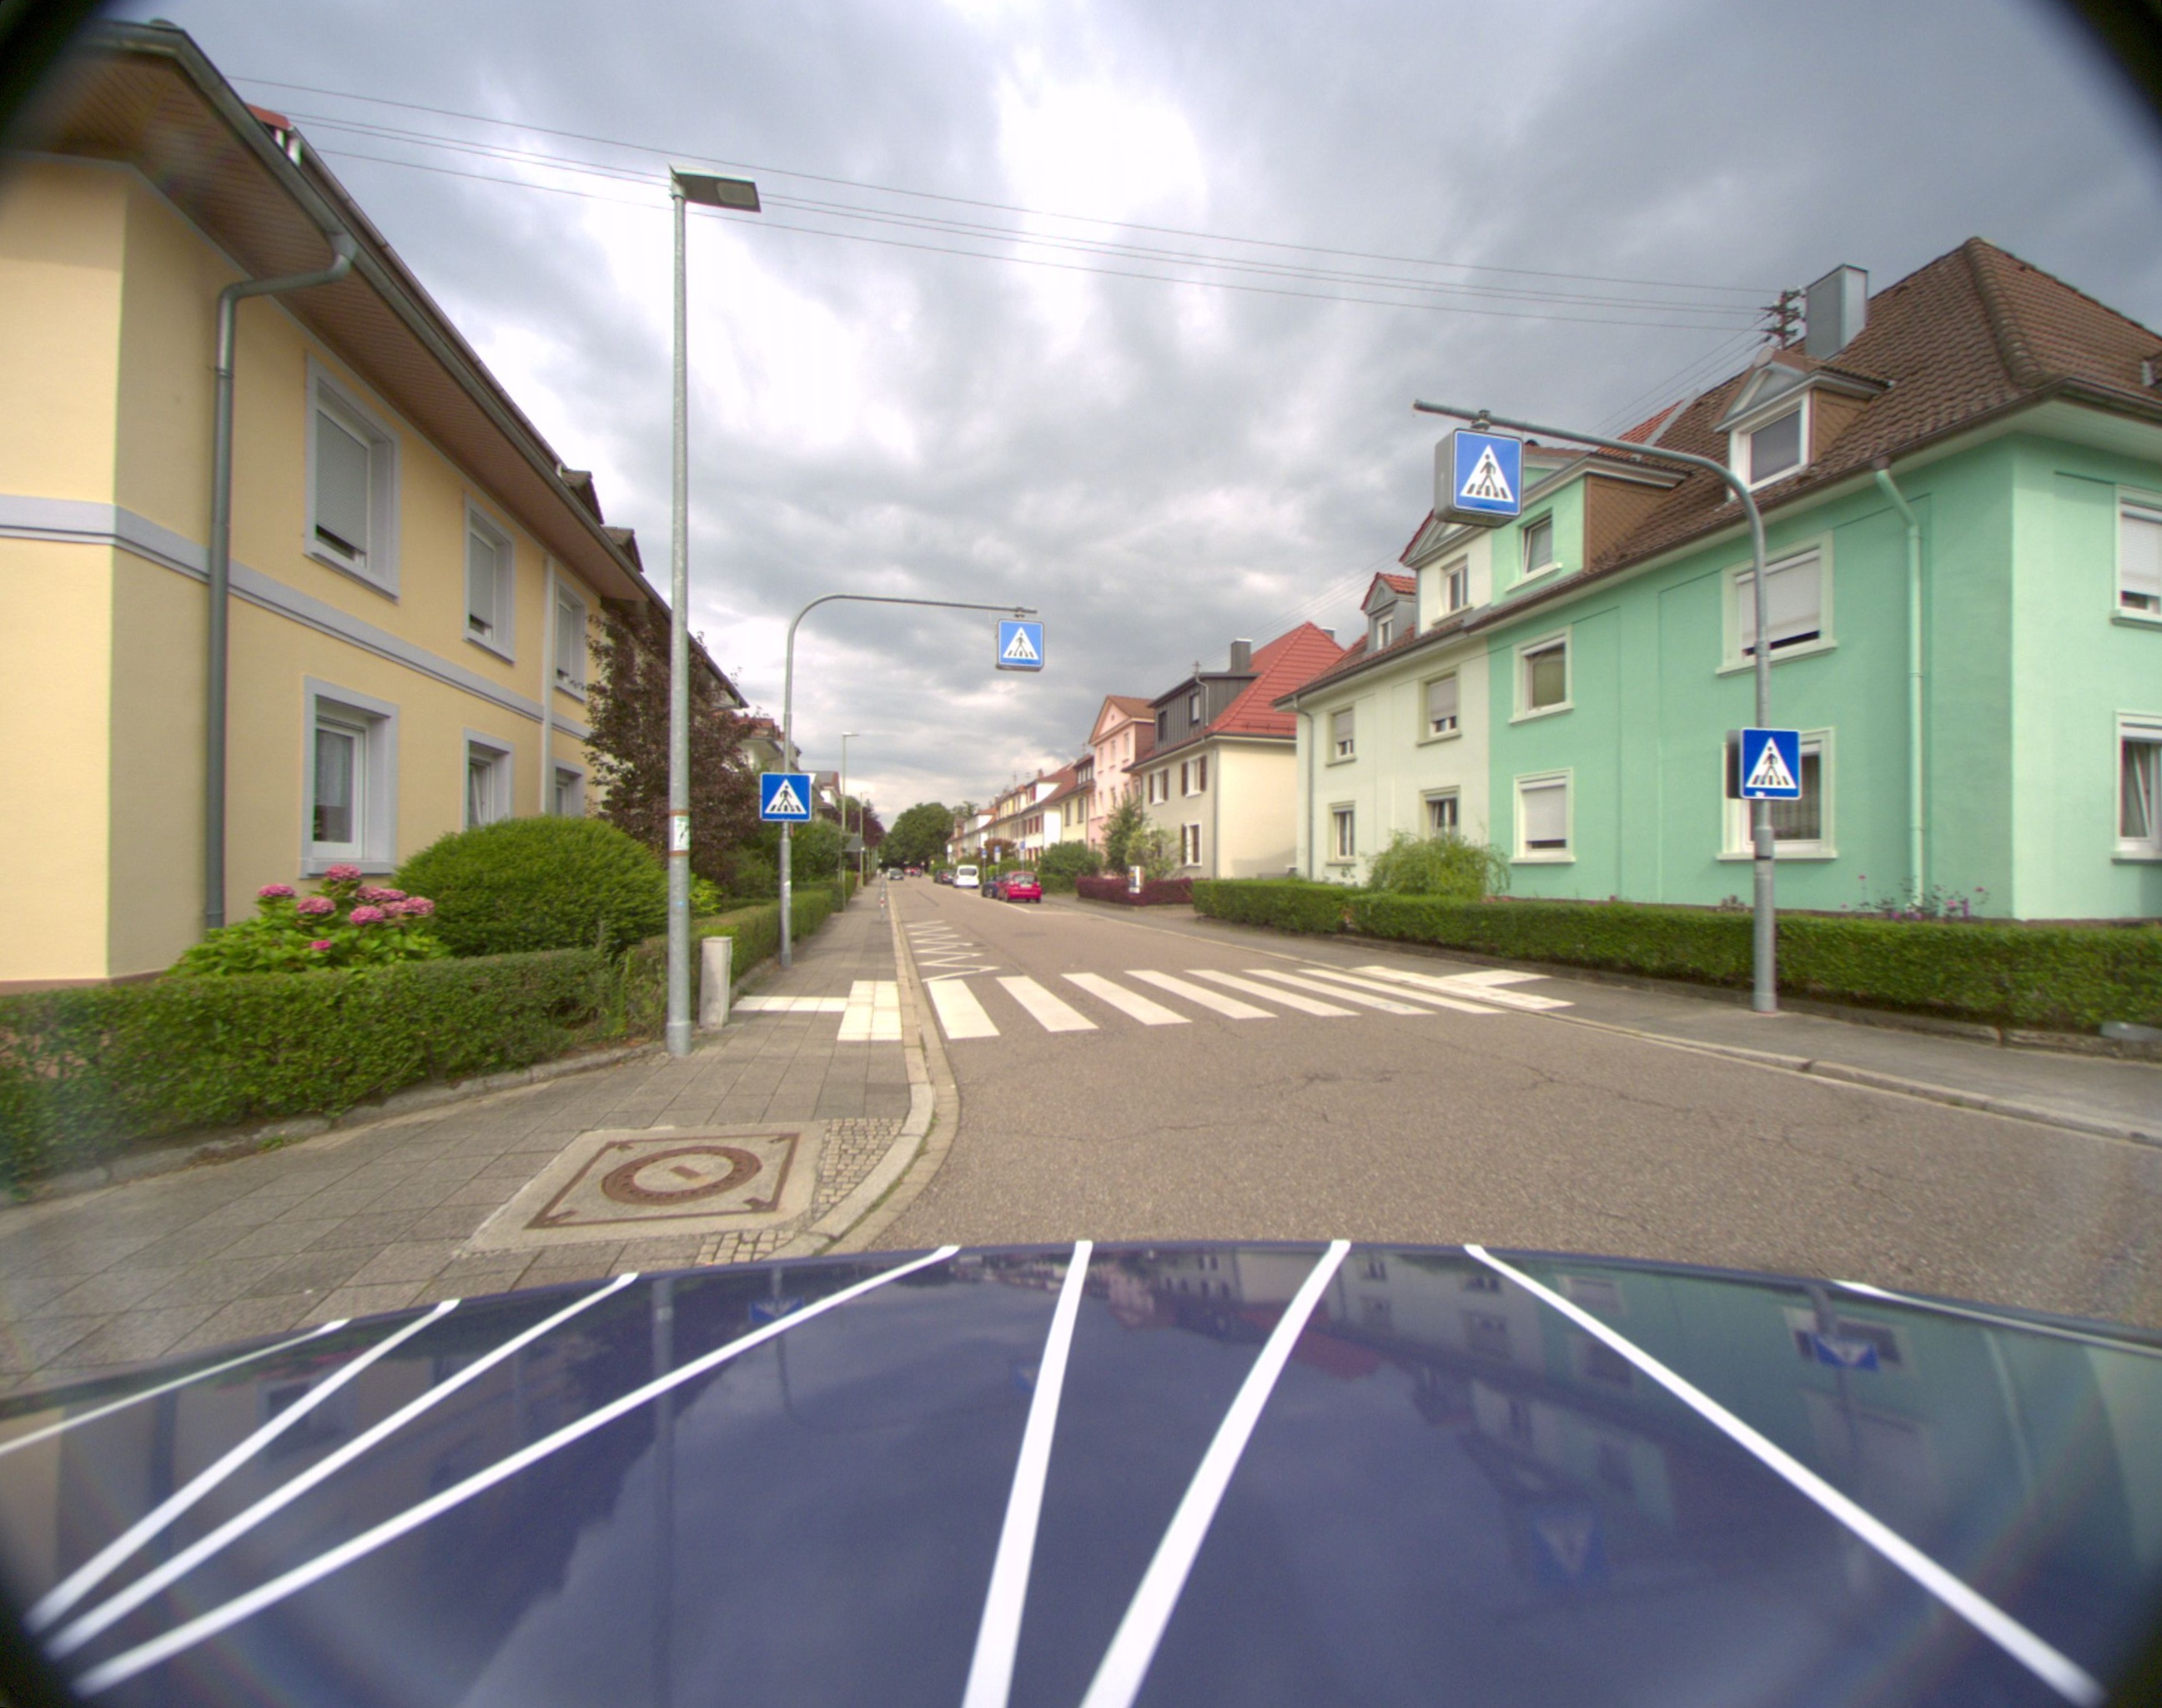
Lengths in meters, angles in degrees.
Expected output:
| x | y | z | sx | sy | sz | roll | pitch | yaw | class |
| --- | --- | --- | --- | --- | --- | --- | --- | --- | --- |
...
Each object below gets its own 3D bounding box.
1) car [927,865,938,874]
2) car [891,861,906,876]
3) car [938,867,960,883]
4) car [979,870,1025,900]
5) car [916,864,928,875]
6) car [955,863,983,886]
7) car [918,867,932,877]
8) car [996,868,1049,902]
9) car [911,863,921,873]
| x | y | z | sx | sy | sz | roll | pitch | yaw | class |
| --- | --- | --- | --- | --- | --- | --- | --- | --- | --- |
| -25.407 | 2.626 | 129.859 | 1.503 | 1.456 | 3.088 | 2 | -1 | -19 | car |
| -24.643 | 1.988 | 102.520 | 2.001 | 2.001 | 3.995 | 0 | -1 | -14 | car |
| -13.992 | 2.184 | 80.227 | 2.001 | 1.564 | 3.995 | 0 | -1 | -14 | car |
| -4.472 | 1.722 | 42.746 | 2.001 | 1.564 | 3.995 | 0 | -1 | -14 | car |
| -31.030 | 3.037 | 148.381 | 2.001 | 2.001 | 3.995 | 2 | -1 | -14 | car |
| -9.616 | 1.700 | 65.101 | 2.001 | 1.892 | 3.995 | 0 | -1 | -14 | car |
| -27.986 | 3.223 | 136.222 | 1.737 | 1.695 | 3.994 | 2 | -1 | -19 | car |
| -2.961 | 1.496 | 37.745 | 2.001 | 1.564 | 3.995 | 0 | -1 | -14 | car |
| -35.273 | 2.999 | 162.522 | 2.001 | 2.001 | 3.995 | 0 | -1 | -15 | car |
